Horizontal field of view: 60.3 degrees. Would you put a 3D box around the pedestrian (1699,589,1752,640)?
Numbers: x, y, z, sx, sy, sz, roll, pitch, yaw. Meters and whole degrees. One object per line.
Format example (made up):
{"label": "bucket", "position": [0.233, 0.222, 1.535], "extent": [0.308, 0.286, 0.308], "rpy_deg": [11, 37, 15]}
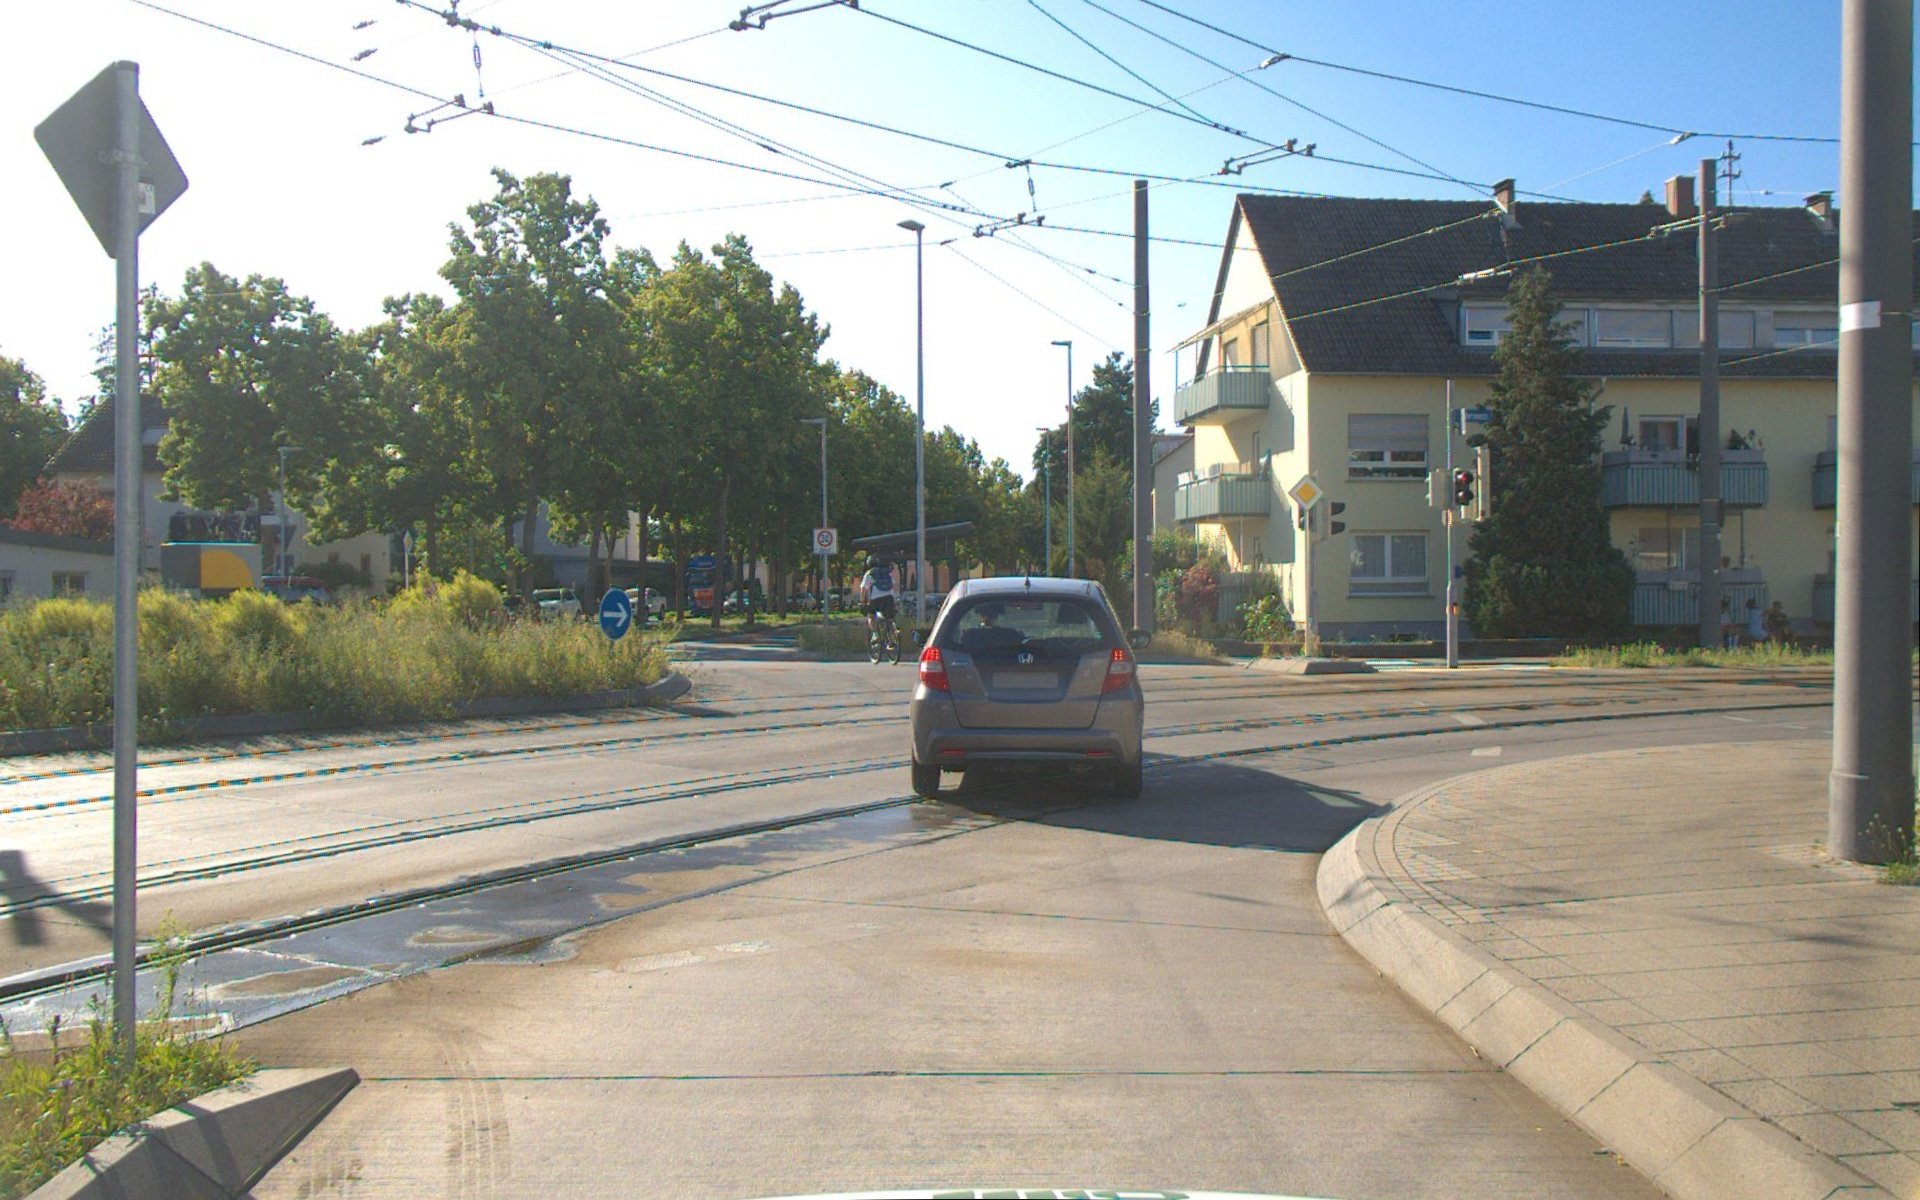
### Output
{"label": "pedestrian", "position": [16.065, 0.306, 34.735], "extent": [0.673, 1.065, 0.818], "rpy_deg": [0, 0, -8]}

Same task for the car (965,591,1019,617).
{"label": "car", "position": [2.008, 0.238, 103.387], "extent": [3.290, 1.560, 1.523], "rpy_deg": [1, 0, 0]}

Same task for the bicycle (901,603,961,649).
{"label": "bicycle", "position": [-0.800, 0.722, 45.819], "extent": [1.632, 1.229, 0.688], "rpy_deg": [1, 0, -3]}

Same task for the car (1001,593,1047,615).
{"label": "car", "position": [4.903, 0.303, 127.503], "extent": [3.444, 1.560, 1.577], "rpy_deg": [1, 0, 0]}

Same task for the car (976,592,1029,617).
{"label": "car", "position": [2.798, 0.286, 108.145], "extent": [3.407, 1.519, 1.552], "rpy_deg": [1, 0, 0]}

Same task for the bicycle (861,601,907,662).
{"label": "bicycle", "position": [-1.350, 0.570, 29.189], "extent": [0.751, 1.055, 1.532], "rpy_deg": [0, -2, -5]}

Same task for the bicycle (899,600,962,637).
{"label": "bicycle", "position": [-0.879, 0.538, 48.614], "extent": [1.804, 1.045, 0.688], "rpy_deg": [1, 0, -3]}

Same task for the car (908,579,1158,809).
{"label": "car", "position": [0.508, 0.607, 12.971], "extent": [1.653, 1.517, 3.915], "rpy_deg": [0, 1, 1]}

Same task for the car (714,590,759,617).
{"label": "car", "position": [-13.566, 0.205, 100.588], "extent": [1.792, 1.608, 4.443], "rpy_deg": [1, 0, 4]}

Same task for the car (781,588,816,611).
{"label": "car", "position": [-12.759, -0.050, 130.862], "extent": [1.951, 1.729, 4.221], "rpy_deg": [1, 0, 5]}

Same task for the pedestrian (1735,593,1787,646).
{"label": "pedestrian", "position": [16.883, 0.405, 34.866], "extent": [0.620, 1.083, 0.808], "rpy_deg": [1, 0, -39]}

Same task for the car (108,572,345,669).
{"label": "car", "position": [-16.604, 0.473, 37.789], "extent": [1.951, 2.016, 5.240], "rpy_deg": [-2, -1, 17]}

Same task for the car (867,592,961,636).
{"label": "car", "position": [-1.731, 0.525, 62.894], "extent": [3.444, 1.560, 1.578], "rpy_deg": [1, 0, 1]}

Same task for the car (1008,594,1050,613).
{"label": "car", "position": [5.775, 0.291, 138.130], "extent": [3.444, 1.560, 1.577], "rpy_deg": [1, 0, 0]}

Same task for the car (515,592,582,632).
{"label": "car", "position": [-18.835, 0.520, 75.928], "extent": [1.952, 1.729, 4.218], "rpy_deg": [1, 0, 0]}

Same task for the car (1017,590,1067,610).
{"label": "car", "position": [5.800, 0.010, 117.546], "extent": [3.444, 1.301, 1.577], "rpy_deg": [1, 0, 0]}

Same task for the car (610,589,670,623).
{"label": "car", "position": [-17.863, 0.323, 92.471], "extent": [1.951, 1.804, 5.063], "rpy_deg": [1, 0, 5]}

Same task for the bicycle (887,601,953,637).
{"label": "bicycle", "position": [-1.205, 0.560, 49.506], "extent": [1.933, 1.045, 0.696], "rpy_deg": [1, 0, -3]}

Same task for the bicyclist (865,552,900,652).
{"label": "bicyclist", "position": [-1.383, 0.034, 29.477], "extent": [0.591, 1.744, 0.544], "rpy_deg": [-1, -4, -4]}

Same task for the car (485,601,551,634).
{"label": "car", "position": [-18.968, 0.741, 71.117], "extent": [1.922, 1.347, 3.997], "rpy_deg": [1, 0, -3]}

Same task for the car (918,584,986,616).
{"label": "car", "position": [-0.402, -0.021, 85.022], "extent": [3.444, 1.560, 1.578], "rpy_deg": [1, 0, 1]}

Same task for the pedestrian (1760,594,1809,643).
{"label": "pedestrian", "position": [17.487, 0.385, 35.091], "extent": [0.587, 1.023, 0.717], "rpy_deg": [1, 0, -30]}

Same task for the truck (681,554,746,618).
{"label": "truck", "position": [-16.322, -0.943, 110.133], "extent": [3.006, 4.062, 8.009], "rpy_deg": [1, 1, 1]}
